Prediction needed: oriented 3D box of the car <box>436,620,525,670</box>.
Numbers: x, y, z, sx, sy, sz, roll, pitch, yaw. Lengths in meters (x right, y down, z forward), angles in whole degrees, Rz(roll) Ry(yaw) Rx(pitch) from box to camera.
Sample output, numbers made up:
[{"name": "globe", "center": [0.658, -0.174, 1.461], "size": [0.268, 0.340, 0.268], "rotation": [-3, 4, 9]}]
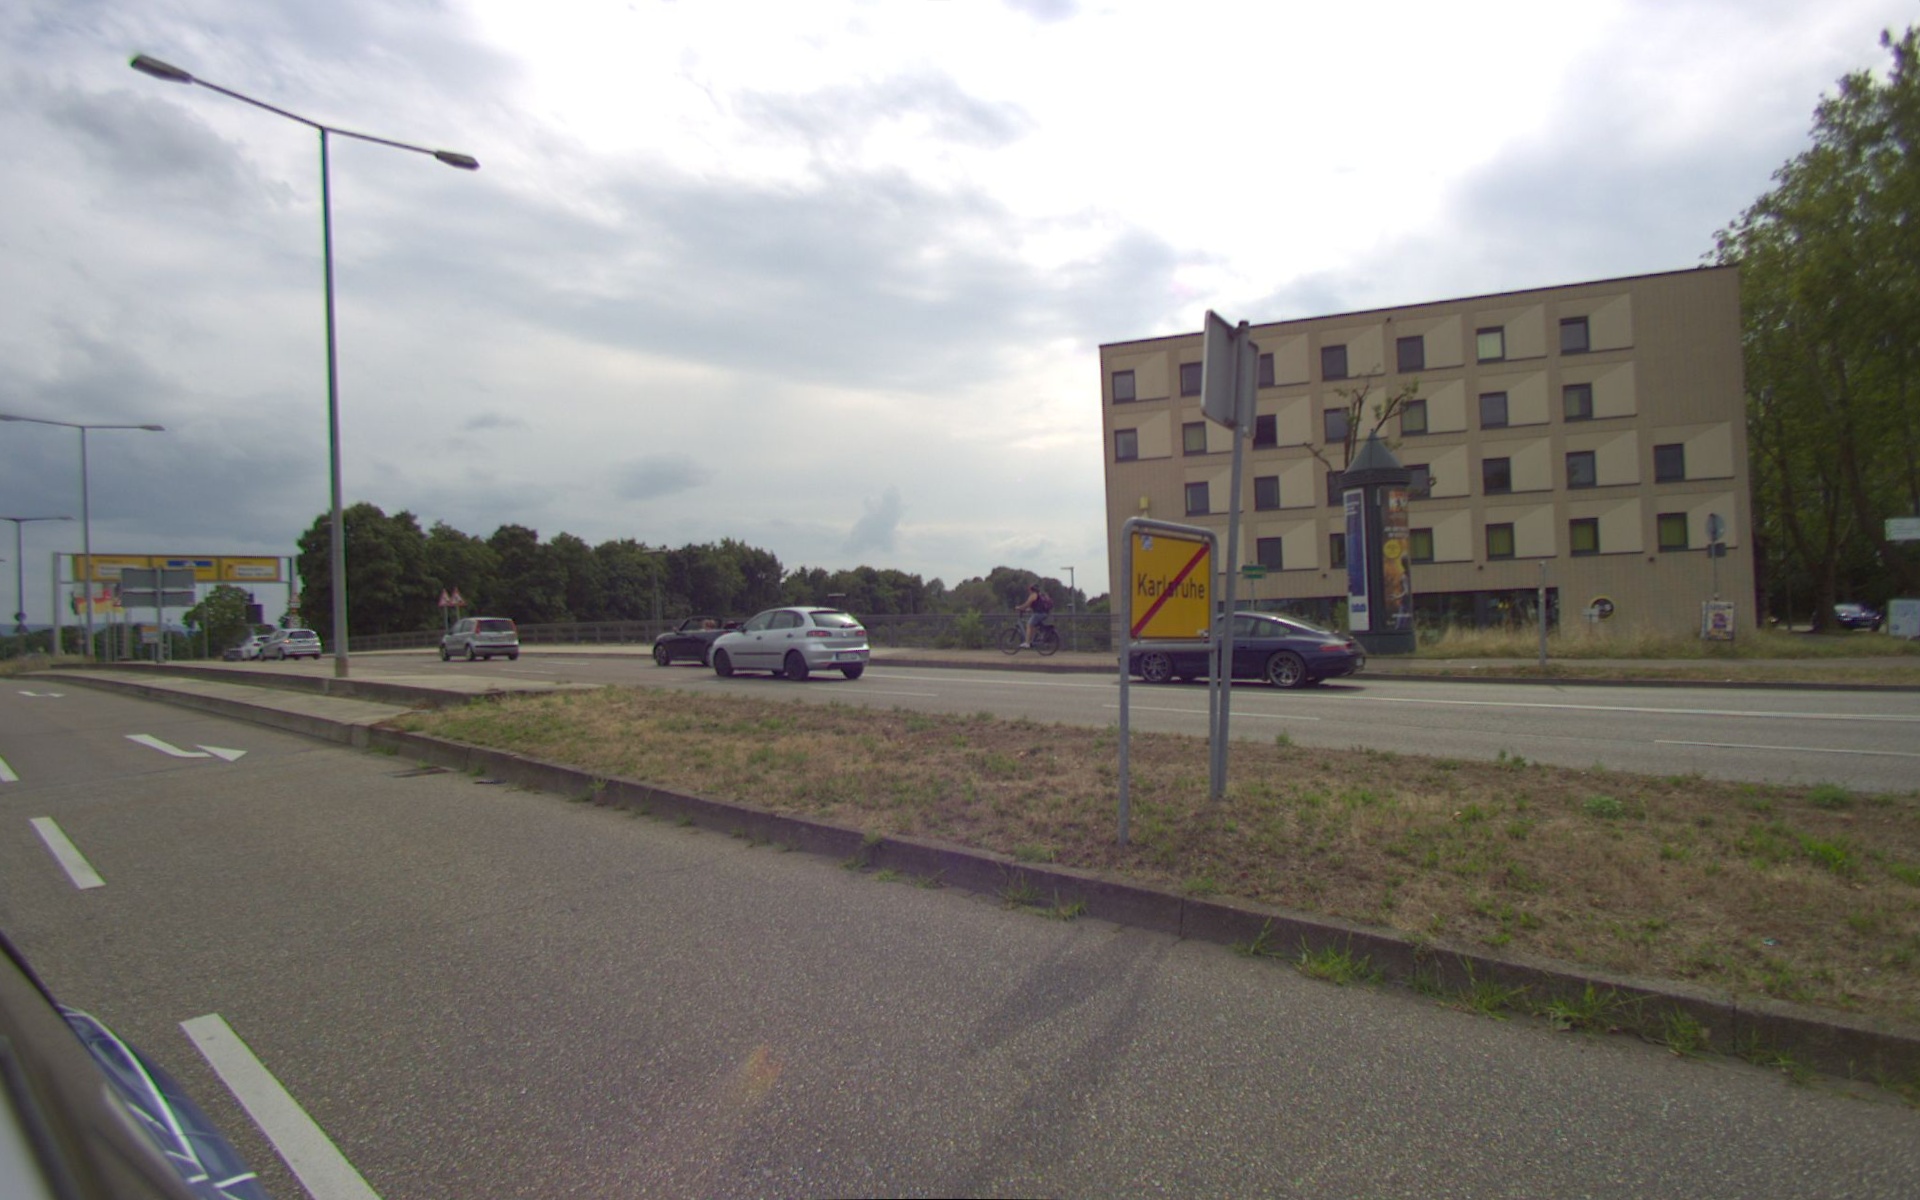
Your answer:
[{"name": "car", "center": [-17.239, 1.587, 36.308], "size": [1.721, 1.671, 4.083], "rotation": [1, -2, -43]}]

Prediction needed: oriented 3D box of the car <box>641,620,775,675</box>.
[{"name": "car", "center": [-7.053, 1.294, 28.176], "size": [3.875, 1.421, 1.723], "rotation": [-2, -2, 41]}]

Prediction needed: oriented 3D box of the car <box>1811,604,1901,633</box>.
[{"name": "car", "center": [51.514, 1.038, 58.289], "size": [1.930, 1.572, 4.445], "rotation": [-1, -1, 13]}]

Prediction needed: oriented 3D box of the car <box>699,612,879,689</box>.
[{"name": "car", "center": [-3.546, 0.985, 20.600], "size": [3.859, 1.421, 1.599], "rotation": [-2, -2, 42]}]

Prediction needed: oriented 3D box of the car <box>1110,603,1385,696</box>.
[{"name": "car", "center": [5.021, 0.834, 17.930], "size": [4.343, 1.457, 1.805], "rotation": [-2, -1, 35]}]

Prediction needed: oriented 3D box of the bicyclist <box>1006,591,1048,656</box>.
[{"name": "bicyclist", "center": [1.769, 0.615, 26.599], "size": [0.845, 1.684, 0.679], "rotation": [-2, -1, 33]}]

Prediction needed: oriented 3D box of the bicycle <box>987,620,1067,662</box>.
[{"name": "bicycle", "center": [1.746, 1.075, 26.611], "size": [1.989, 1.061, 0.679], "rotation": [-2, -1, 33]}]

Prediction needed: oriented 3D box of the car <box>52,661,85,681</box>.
[{"name": "car", "center": [-83.704, 6.656, 95.038], "size": [4.217, 1.652, 1.867], "rotation": [-3, -2, 42]}]

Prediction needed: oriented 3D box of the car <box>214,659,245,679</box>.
[{"name": "car", "center": [-66.573, 6.261, 92.285], "size": [1.861, 1.652, 4.559], "rotation": [-1, -2, -30]}]

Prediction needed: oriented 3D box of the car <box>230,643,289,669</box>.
[{"name": "car", "center": [-41.621, 3.342, 60.079], "size": [4.881, 1.426, 1.897], "rotation": [-3, -3, 43]}]

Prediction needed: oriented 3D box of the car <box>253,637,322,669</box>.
[{"name": "car", "center": [-32.905, 2.559, 49.486], "size": [4.027, 1.426, 1.790], "rotation": [-2, -2, 41]}]

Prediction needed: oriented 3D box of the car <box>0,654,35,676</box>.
[{"name": "car", "center": [-77.567, 5.346, 83.290], "size": [4.585, 1.652, 1.866], "rotation": [-3, -2, 44]}]
